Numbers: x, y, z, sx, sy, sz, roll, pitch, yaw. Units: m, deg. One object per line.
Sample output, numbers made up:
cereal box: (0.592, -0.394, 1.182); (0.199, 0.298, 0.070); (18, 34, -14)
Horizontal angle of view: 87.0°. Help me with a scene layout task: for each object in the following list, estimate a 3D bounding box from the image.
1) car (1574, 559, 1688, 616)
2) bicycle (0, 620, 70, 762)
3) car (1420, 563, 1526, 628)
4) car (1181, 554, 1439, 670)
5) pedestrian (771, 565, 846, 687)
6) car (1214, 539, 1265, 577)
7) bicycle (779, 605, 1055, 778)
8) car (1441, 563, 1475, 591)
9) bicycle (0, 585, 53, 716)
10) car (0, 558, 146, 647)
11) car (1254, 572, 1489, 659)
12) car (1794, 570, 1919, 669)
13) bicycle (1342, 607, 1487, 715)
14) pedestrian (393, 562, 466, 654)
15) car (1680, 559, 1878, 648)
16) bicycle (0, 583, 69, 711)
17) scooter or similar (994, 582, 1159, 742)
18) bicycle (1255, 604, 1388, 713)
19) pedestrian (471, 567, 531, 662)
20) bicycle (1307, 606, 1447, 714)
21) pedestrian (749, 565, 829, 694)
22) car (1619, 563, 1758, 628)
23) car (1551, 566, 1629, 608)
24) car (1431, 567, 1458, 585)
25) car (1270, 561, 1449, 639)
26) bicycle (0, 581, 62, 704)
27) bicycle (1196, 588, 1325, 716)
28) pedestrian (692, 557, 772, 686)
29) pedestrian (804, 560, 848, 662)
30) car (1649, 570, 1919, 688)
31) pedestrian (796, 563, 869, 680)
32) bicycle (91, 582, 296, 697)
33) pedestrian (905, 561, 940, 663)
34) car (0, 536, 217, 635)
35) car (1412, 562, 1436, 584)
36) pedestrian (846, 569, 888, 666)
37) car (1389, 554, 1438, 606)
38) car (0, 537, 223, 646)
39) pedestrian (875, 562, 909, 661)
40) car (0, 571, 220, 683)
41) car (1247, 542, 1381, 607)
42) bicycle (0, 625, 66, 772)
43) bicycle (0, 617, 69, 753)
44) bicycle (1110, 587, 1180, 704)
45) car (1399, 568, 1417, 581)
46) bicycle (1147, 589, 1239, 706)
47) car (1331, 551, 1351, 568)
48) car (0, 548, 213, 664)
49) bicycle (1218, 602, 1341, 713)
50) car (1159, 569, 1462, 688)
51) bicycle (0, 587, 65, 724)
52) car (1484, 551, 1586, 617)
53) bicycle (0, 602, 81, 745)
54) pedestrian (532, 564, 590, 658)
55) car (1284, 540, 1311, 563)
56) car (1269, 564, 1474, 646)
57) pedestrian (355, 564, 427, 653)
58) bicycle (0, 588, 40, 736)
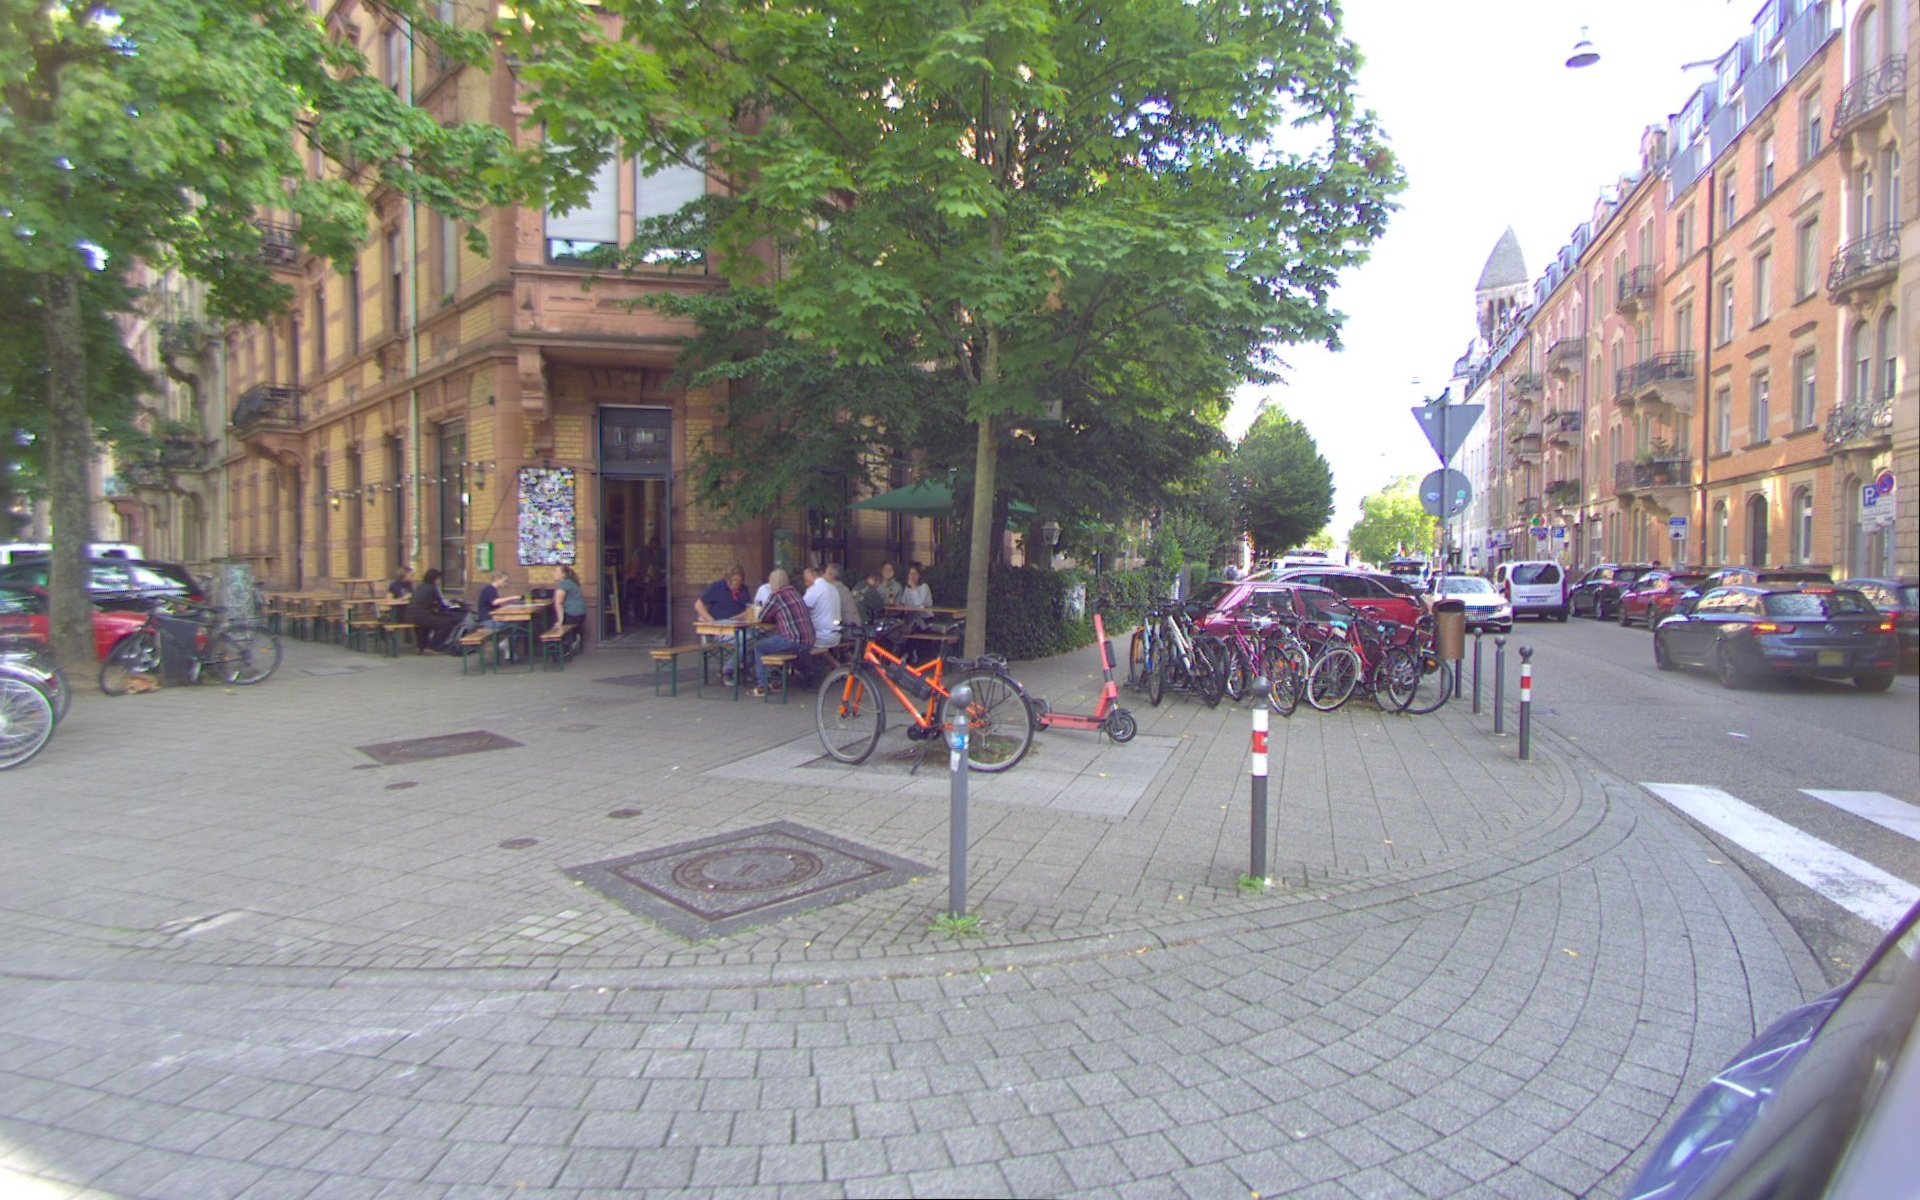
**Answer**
car: (20.444, -0.413, 31.026); (1.739, 1.618, 4.318); (-1, 1, 17)
bicycle: (-7.618, 0.699, 7.322); (1.679, 0.998, 0.449); (-3, 4, -32)
car: (13.902, -0.168, 27.677); (1.920, 1.617, 4.807); (-1, 1, 19)
car: (5.524, 0.154, 16.228); (3.518, 1.635, 1.515); (2, 2, -2)
pedestrian: (-1.693, 0.275, 11.364); (0.717, 1.331, 0.520); (1, 2, 9)
car: (14.243, -2.089, 51.468); (1.719, 1.825, 3.963); (-1, 1, 27)
bicycle: (-0.307, 0.596, 7.174); (1.834, 1.047, 0.679); (1, 2, 21)
car: (33.580, -1.588, 68.334); (1.665, 1.807, 3.993); (1, 2, 21)
bicycle: (-9.544, 0.508, 9.314); (0.446, 1.216, 1.690); (2, 4, 37)
car: (-17.546, 0.078, 18.767); (3.648, 1.475, 1.666); (-6, 4, -43)
car: (7.312, 0.245, 18.177); (3.518, 1.339, 1.515); (2, 2, -2)
car: (15.017, 0.231, 15.957); (1.703, 1.385, 3.804); (-1, 1, 21)
bicycle: (5.044, 0.640, 11.372); (0.462, 0.997, 1.869); (2, 3, -11)
pedestrian: (-7.873, 0.104, 15.032); (0.627, 1.300, 0.757); (1, 4, 44)
car: (16.508, -0.014, 20.684); (1.840, 1.604, 4.370); (-1, 2, 21)
bicycle: (-9.776, 0.487, 9.752); (0.446, 1.216, 1.690); (2, 4, 37)
scooter or similar: (0.975, 0.485, 8.605); (1.288, 1.226, 0.548); (2, 1, 42)
bicycle: (3.963, 0.603, 11.255); (0.462, 0.997, 1.869); (2, 3, -11)
pedestrian: (-6.314, 0.184, 13.919); (0.630, 1.239, 0.512); (-3, 4, -37)
bicycle: (4.608, 0.623, 11.328); (0.462, 0.997, 1.869); (2, 3, -11)
pedestrian: (-1.825, 0.295, 10.837); (0.717, 1.331, 0.520); (1, 2, 9)
car: (18.442, -0.156, 25.835); (1.740, 1.515, 4.108); (-1, 1, 19)
car: (22.199, -0.465, 35.771); (1.606, 1.396, 3.736); (0, 1, 21)
car: (37.088, -1.841, 77.543); (1.606, 1.396, 3.736); (0, 1, 21)
car: (9.340, -0.016, 23.824); (3.518, 1.632, 1.515); (2, 2, -2)
bicycle: (-10.163, 0.457, 10.136); (1.683, 1.216, 0.448); (-3, 4, -41)
bicycle: (3.116, 0.498, 10.693); (0.465, 1.157, 1.843); (2, 3, -11)
pedestrian: (-2.594, 0.215, 11.494); (0.657, 1.395, 0.717); (-1, 2, -35)
pedestrian: (-1.788, 0.135, 13.516); (0.538, 1.316, 0.622); (0, 2, -3)
car: (11.696, 0.317, 14.654); (1.748, 1.398, 4.423); (-2, 1, 20)
pedestrian: (-1.498, 0.237, 11.973); (0.717, 1.331, 0.606); (1, 2, 9)
bicycle: (-8.570, 0.401, 11.371); (1.769, 1.127, 0.599); (-3, 4, -41)
pedestrian: (-0.514, 0.148, 13.702); (0.457, 1.343, 0.622); (0, 2, -3)
car: (-20.440, -0.396, 23.451); (2.039, 2.012, 4.840); (2, 5, 42)
car: (42.067, -2.446, 91.831); (1.707, 1.956, 3.984); (1, 2, 21)
pedestrian: (-1.219, 0.217, 13.334); (0.538, 1.247, 0.622); (0, 2, -3)
car: (19.256, -0.879, 43.108); (1.774, 2.088, 3.970); (1, 2, 23)
car: (-15.286, -0.169, 17.719); (3.646, 1.742, 1.857); (-2, 1, -43)
pedestrian: (-0.952, 0.147, 14.146); (0.457, 1.343, 0.622); (0, 2, -3)
car: (-12.213, 0.364, 13.063); (1.562, 1.285, 4.050); (0, 3, 43)
car: (14.138, -1.027, 40.479); (4.640, 2.453, 2.004); (-1, 1, -11)
bicycle: (-7.334, 0.725, 6.965); (1.679, 0.981, 0.449); (-3, 4, -32)
bicycle: (-7.914, 0.684, 7.648); (1.679, 0.998, 0.449); (-3, 4, -32)
bicycle: (1.991, 0.452, 11.058); (0.426, 1.114, 1.676); (2, 2, 0)
car: (49.435, -2.878, 111.726); (1.606, 1.396, 3.736); (1, 2, 21)
bicycle: (2.517, 0.475, 11.120); (0.466, 1.114, 1.677); (2, 3, -4)
car: (43.145, -4.557, 114.509); (1.977, 1.912, 3.971); (-1, 1, 22)
car: (-14.026, 0.084, 15.337); (4.236, 1.588, 2.005); (-4, 3, -38)
bicycle: (3.435, 0.581, 11.050); (0.409, 0.997, 1.843); (2, 3, -11)
car: (4.690, 0.352, 13.804); (3.516, 1.397, 1.515); (2, 2, -4)
bicycle: (-9.114, 0.536, 8.962); (0.445, 1.216, 1.694); (1, 4, 31)
car: (18.092, -0.525, 32.075); (1.920, 1.903, 4.807); (-1, 1, 19)
bicycle: (-8.285, 0.623, 7.944); (2.005, 1.102, 0.449); (-3, 4, -32)
pedestrian: (-5.650, 0.142, 14.323); (0.630, 1.274, 0.512); (-3, 4, -37)
car: (27.632, -3.953, 82.970); (1.824, 1.756, 3.982); (-1, 1, 15)
car: (8.397, 0.080, 20.812); (3.518, 1.482, 1.515); (2, 2, -2)
pedestrian: (-8.747, 0.108, 15.561); (0.627, 1.300, 0.757); (1, 4, 44)
bicycle: (-8.772, 0.551, 8.321); (1.679, 1.216, 0.449); (-3, 4, -32)
